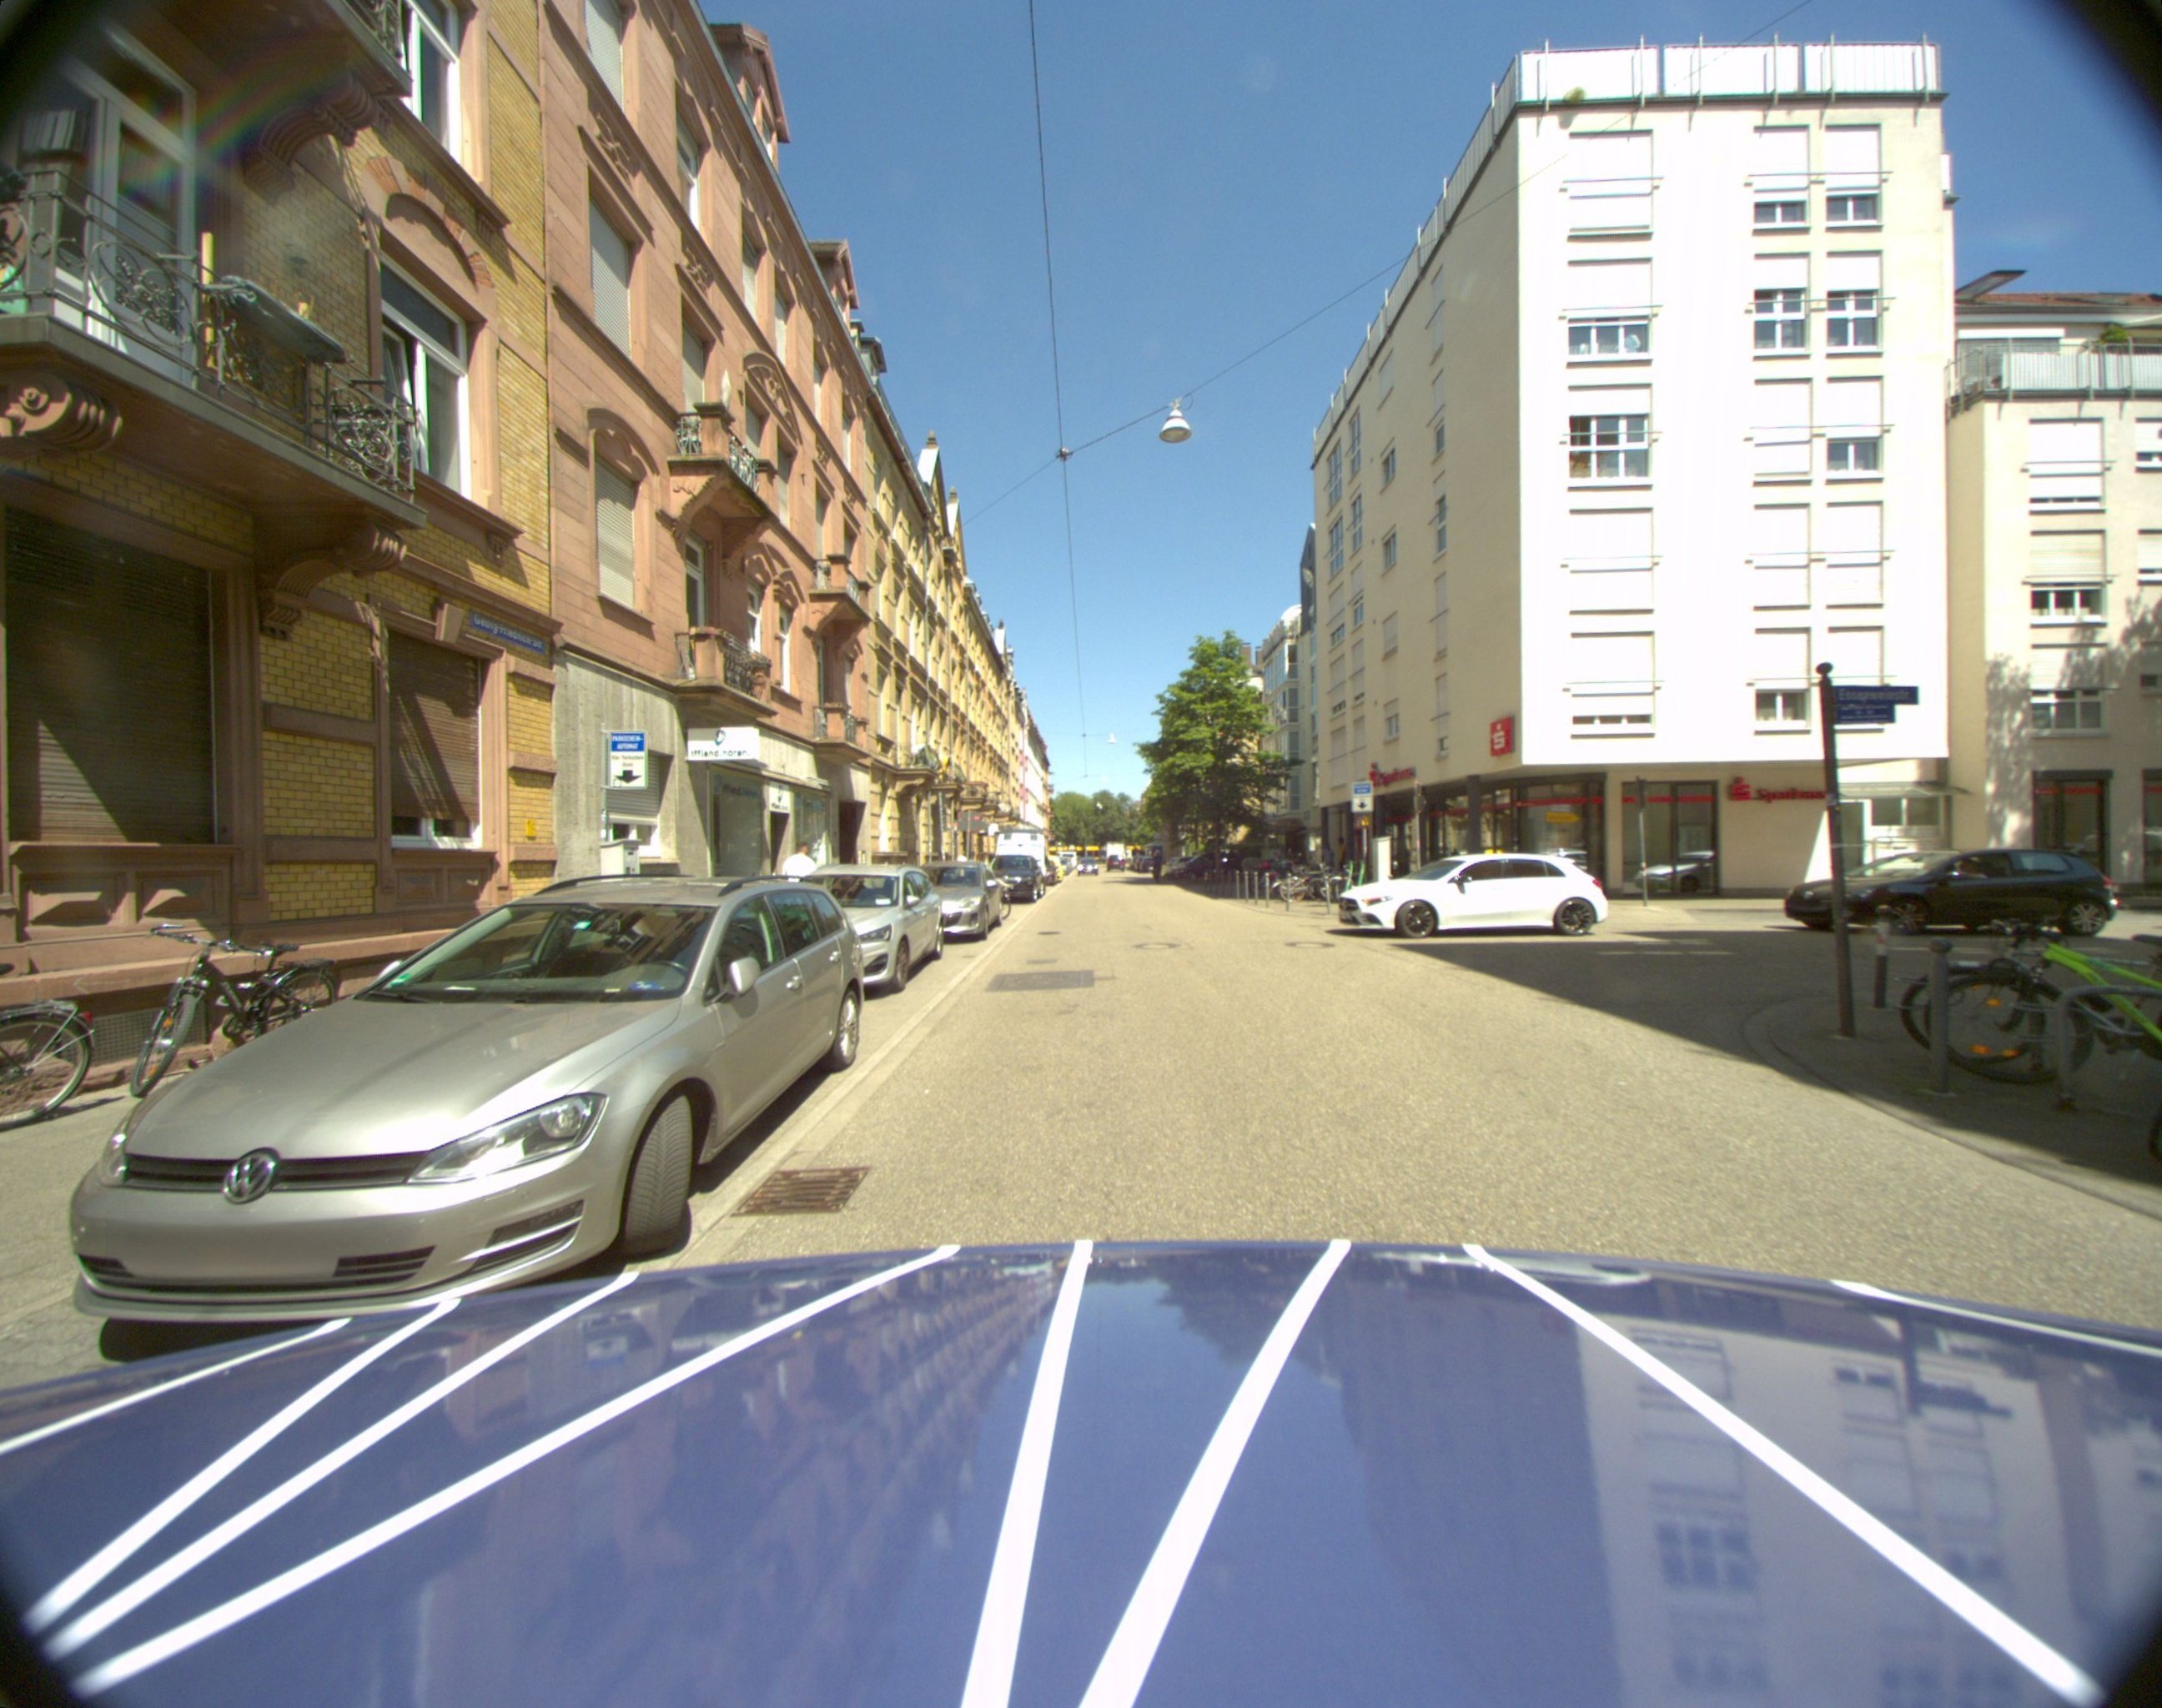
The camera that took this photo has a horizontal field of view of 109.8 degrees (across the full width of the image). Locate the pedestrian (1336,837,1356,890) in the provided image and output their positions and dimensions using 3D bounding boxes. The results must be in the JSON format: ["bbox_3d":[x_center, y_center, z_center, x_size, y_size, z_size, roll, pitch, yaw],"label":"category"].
[{"bbox_3d":[10.654,0.375,30.590,0.608,2.113,0.496,-1,1,36],"label":"pedestrian"}]

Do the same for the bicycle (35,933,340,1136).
[{"bbox_3d":[-6.066,1.160,5.280,0.366,1.044,1.428,-1,1,1],"label":"bicycle"}]

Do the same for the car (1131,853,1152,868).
[{"bbox_3d":[6.658,0.665,83.519,1.998,1.505,4.000,-3,0,1],"label":"car"}]

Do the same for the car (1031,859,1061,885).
[{"bbox_3d":[-1.891,0.965,41.718,1.533,1.293,3.686,-2,0,-2],"label":"car"}]

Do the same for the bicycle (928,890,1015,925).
[{"bbox_3d":[-2.623,1.280,18.245,1.965,0.772,0.568,-1,0,5],"label":"bicycle"}]

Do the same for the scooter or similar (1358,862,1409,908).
[{"bbox_3d":[7.818,0.787,19.622,1.192,1.160,0.289,-1,1,-1],"label":"scooter or similar"}]

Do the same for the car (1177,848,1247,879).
[{"bbox_3d":[7.806,0.559,45.375,3.885,1.737,1.652,-1,0,0],"label":"car"}]

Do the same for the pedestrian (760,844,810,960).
[{"bbox_3d":[-4.939,0.787,12.688,0.635,1.903,0.370,-1,1,1],"label":"pedestrian"}]

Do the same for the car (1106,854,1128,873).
[{"bbox_3d":[3.483,0.881,73.966,1.998,1.674,4.000,-3,0,1],"label":"car"}]

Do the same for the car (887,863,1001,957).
[{"bbox_3d":[-2.493,0.960,14.612,1.603,1.454,3.689,-2,0,-2],"label":"car"}]

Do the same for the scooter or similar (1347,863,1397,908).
[{"bbox_3d":[7.663,0.818,20.005,1.192,1.160,0.289,-1,1,-1],"label":"scooter or similar"}]

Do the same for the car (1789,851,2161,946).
[{"bbox_3d":[14.739,0.703,12.741,3.887,1.417,1.816,-1,0,5],"label":"car"}]

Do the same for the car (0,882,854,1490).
[{"bbox_3d":[-2.553,0.979,4.043,1.766,1.441,3.903,-2,0,-5],"label":"car"}]

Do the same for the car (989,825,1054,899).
[{"bbox_3d":[-2.331,0.286,31.147,2.067,2.687,5.039,-3,0,1],"label":"car"}]

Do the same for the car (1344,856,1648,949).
[{"bbox_3d":[6.982,0.783,13.121,4.238,1.417,1.815,-1,0,1],"label":"car"}]

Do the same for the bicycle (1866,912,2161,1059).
[{"bbox_3d":[7.566,0.995,6.097,0.411,0.951,1.707,-3,1,-32],"label":"bicycle"}]

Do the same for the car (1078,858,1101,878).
[{"bbox_3d":[0.706,1.103,62.173,1.780,1.460,4.000,-3,0,1],"label":"car"}]

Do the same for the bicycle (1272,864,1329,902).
[{"bbox_3d":[6.750,0.879,23.408,1.608,1.084,0.371,-3,0,6],"label":"bicycle"}]

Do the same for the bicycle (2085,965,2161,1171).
[{"bbox_3d":[5.986,1.071,3.425,1.706,0.951,0.411,-2,1,43],"label":"bicycle"}]

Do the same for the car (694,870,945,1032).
[{"bbox_3d":[-2.954,1.006,9.567,1.830,1.452,3.999,-2,0,-2],"label":"car"}]

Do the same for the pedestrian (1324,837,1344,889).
[{"bbox_3d":[10.488,0.380,31.536,0.495,2.113,0.608,-1,1,-19],"label":"pedestrian"}]

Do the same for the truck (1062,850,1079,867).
[{"bbox_3d":[-1.259,0.493,92.658,1.998,2.002,4.902,-1,0,1],"label":"truck"}]

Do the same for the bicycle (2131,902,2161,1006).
[{"bbox_3d":[10.337,0.952,6.483,0.410,0.951,1.711,-2,1,1],"label":"bicycle"}]

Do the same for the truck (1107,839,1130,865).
[{"bbox_3d":[4.829,-0.263,97.772,2.763,3.270,4.957,-1,0,1],"label":"truck"}]

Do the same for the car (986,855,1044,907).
[{"bbox_3d":[-2.113,0.831,25.382,1.682,1.528,3.999,-2,0,-2],"label":"car"}]

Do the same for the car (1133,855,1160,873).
[{"bbox_3d":[5.863,0.868,68.443,1.998,1.505,4.000,-3,0,1],"label":"car"}]

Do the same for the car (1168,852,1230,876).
[{"bbox_3d":[7.853,0.675,50.849,3.885,1.487,1.652,-1,0,0],"label":"car"}]

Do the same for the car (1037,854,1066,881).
[{"bbox_3d":[-1.833,0.802,46.869,1.682,1.528,3.999,-2,0,-2],"label":"car"}]

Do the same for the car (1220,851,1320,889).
[{"bbox_3d":[8.099,0.671,32.713,3.885,1.520,1.652,-1,0,0],"label":"car"}]

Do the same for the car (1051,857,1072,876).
[{"bbox_3d":[-1.679,1.033,64.804,1.682,1.528,3.999,-2,0,-2],"label":"car"}]

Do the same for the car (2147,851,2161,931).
[{"bbox_3d":[20.938,0.618,12.531,3.887,1.417,1.816,-1,0,5],"label":"car"}]

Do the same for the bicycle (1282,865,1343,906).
[{"bbox_3d":[6.642,0.894,21.845,1.608,1.084,0.371,-3,0,6],"label":"bicycle"}]

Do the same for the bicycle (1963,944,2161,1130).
[{"bbox_3d":[6.261,1.049,4.238,1.706,0.951,0.411,-2,1,43],"label":"bicycle"}]
